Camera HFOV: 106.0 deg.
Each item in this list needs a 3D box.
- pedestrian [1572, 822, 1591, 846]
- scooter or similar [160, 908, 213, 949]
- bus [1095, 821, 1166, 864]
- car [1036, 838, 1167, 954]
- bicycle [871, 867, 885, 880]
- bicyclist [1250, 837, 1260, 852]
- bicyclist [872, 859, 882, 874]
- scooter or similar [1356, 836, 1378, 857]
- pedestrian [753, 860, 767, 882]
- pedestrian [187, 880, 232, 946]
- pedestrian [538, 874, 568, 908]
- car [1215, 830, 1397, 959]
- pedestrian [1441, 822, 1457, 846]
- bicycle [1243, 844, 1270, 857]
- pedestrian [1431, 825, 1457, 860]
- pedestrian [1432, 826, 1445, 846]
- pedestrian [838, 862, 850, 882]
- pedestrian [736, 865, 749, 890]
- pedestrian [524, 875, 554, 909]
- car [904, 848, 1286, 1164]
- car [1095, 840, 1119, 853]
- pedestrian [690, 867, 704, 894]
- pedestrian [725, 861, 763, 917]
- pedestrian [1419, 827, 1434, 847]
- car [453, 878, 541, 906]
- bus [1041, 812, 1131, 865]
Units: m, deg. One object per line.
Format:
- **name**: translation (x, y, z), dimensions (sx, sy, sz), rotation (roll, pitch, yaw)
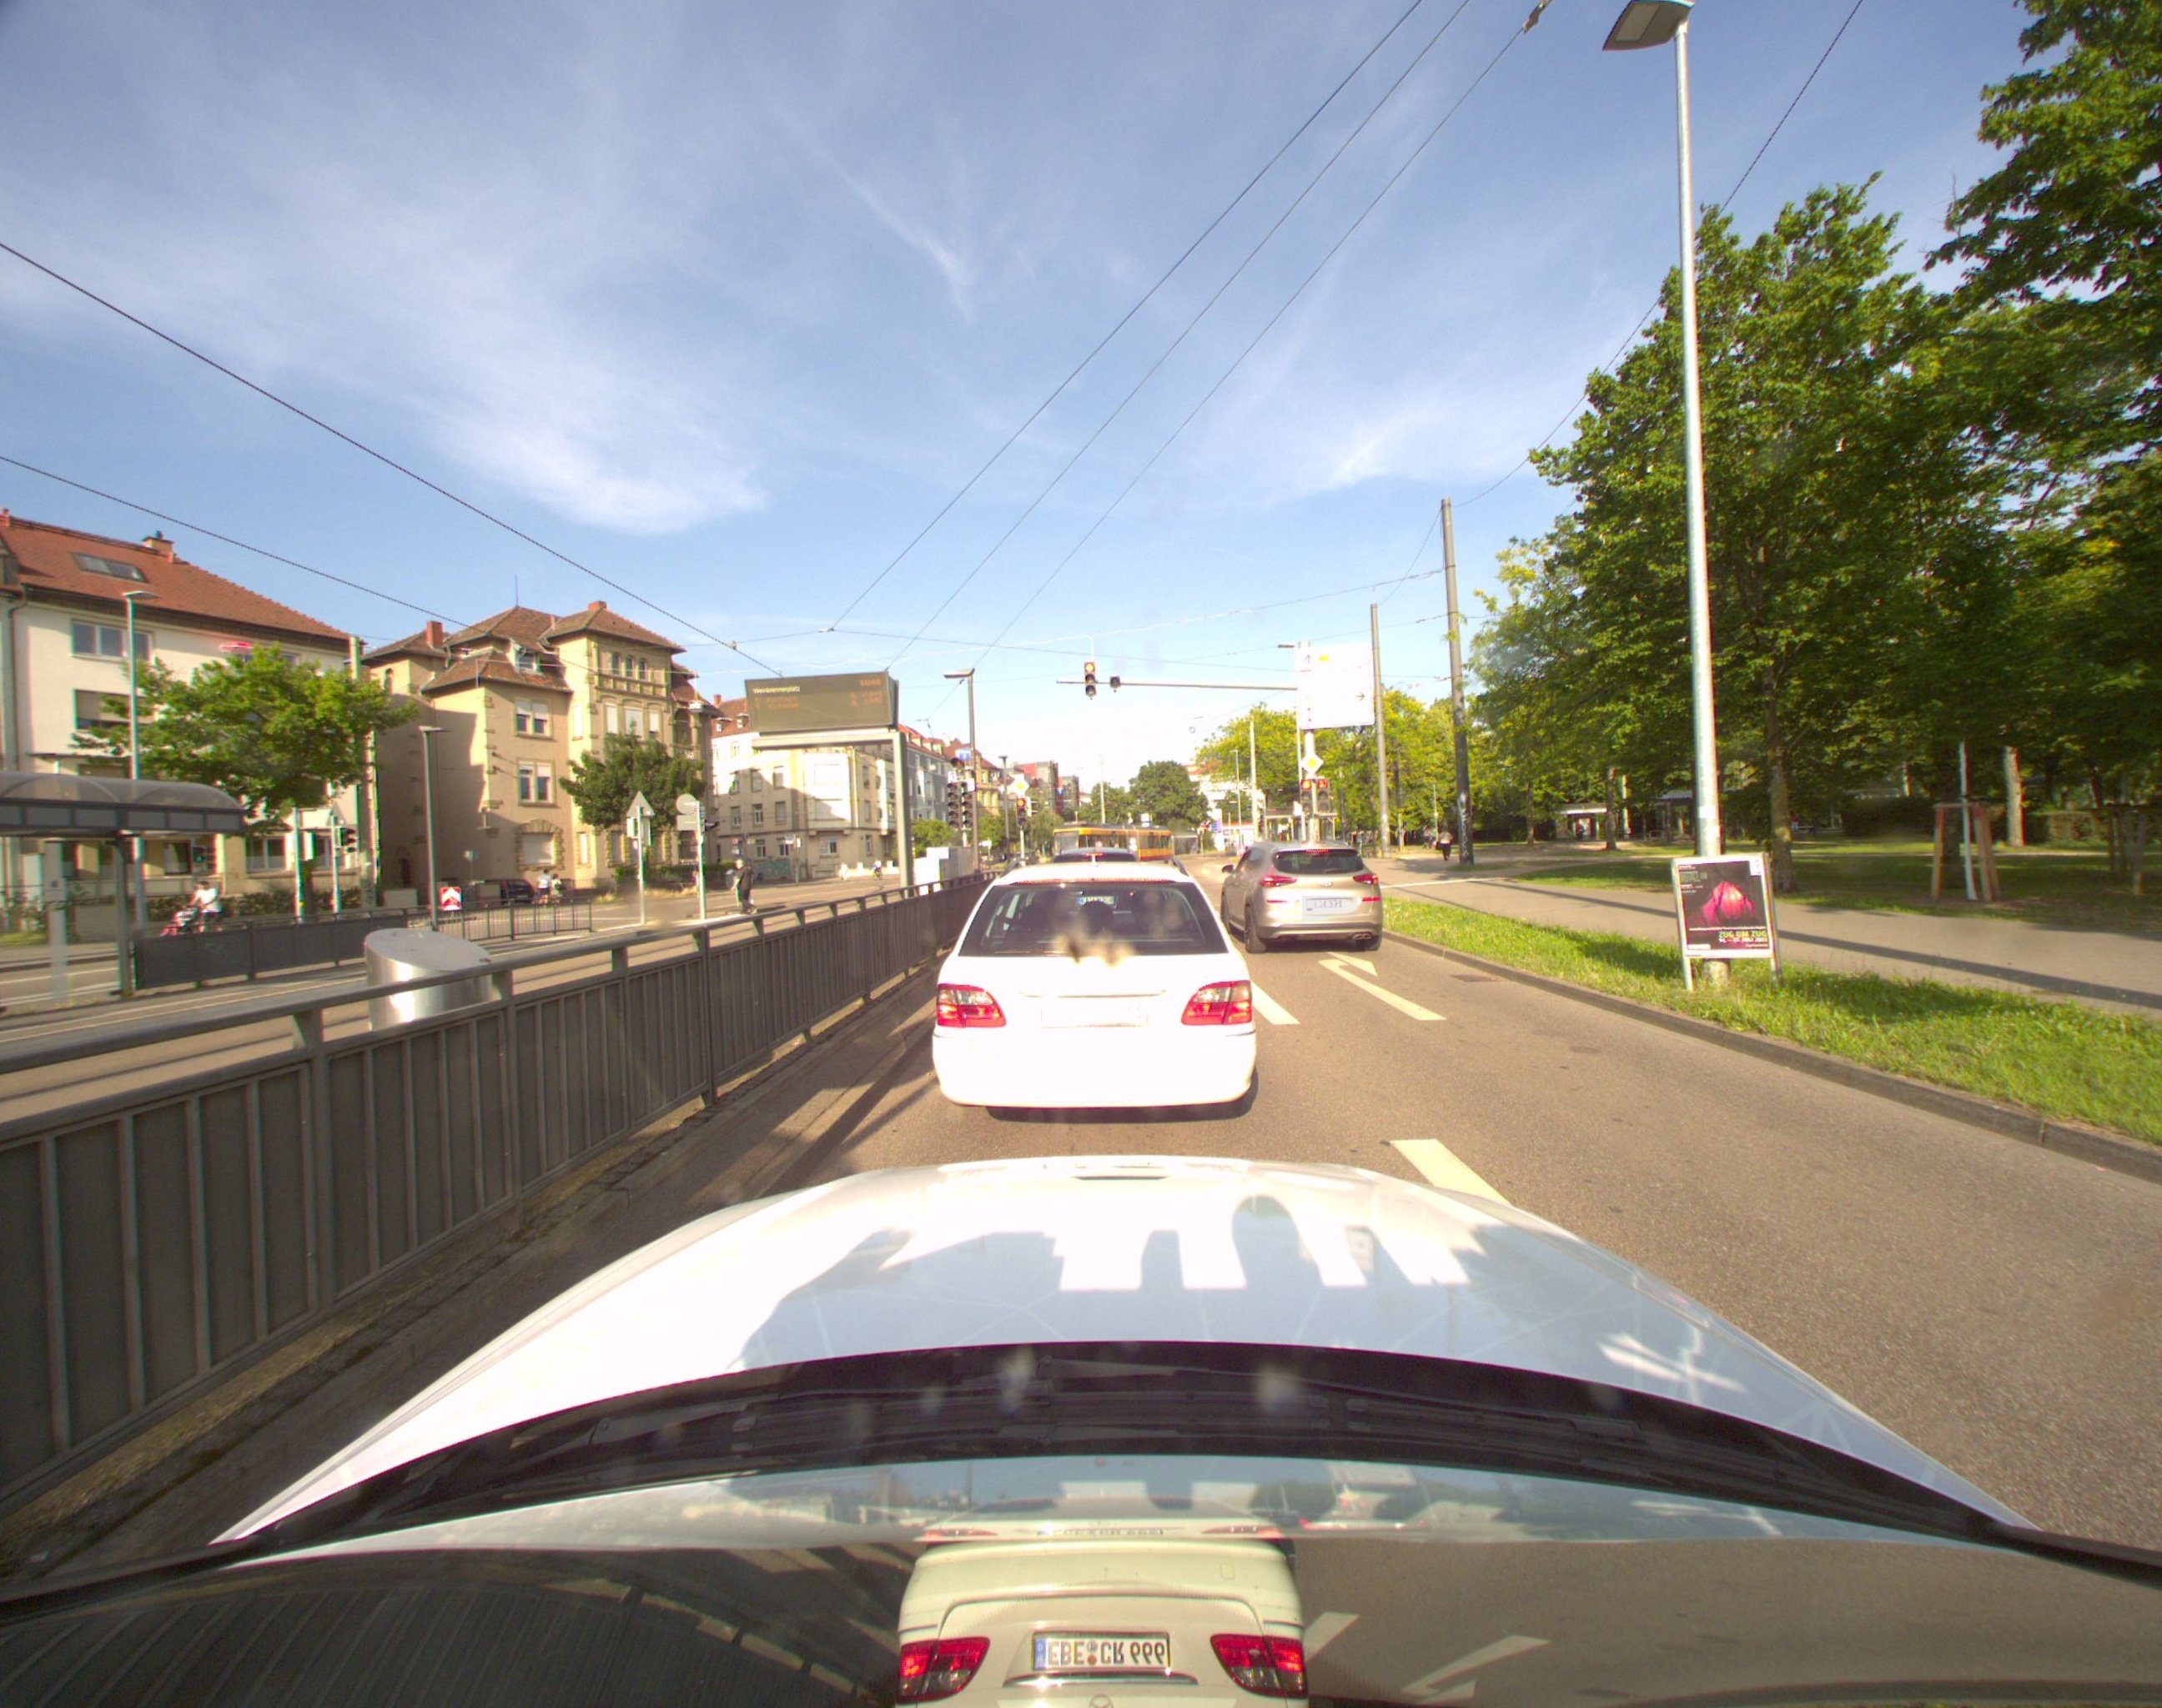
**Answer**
- **pedestrian**: translation (35.585, -1.423, 57.864), dimensions (0.831, 1.636, 0.804), rotation (-3, 0, 8)
- **scooter or similar**: translation (-24.050, 1.991, 21.902), dimensions (0.559, 0.988, 1.015), rotation (-3, 0, -24)
- **bus**: translation (4.777, -0.950, 74.279), dimensions (3.083, 3.606, 12.652), rotation (-1, 0, 19)
- **car**: translation (0.359, 0.598, 13.570), dimensions (1.878, 1.651, 3.649), rotation (-1, 0, 2)
- **bicycle**: translation (-15.044, 1.433, 60.250), dimensions (0.524, 0.834, 1.687), rotation (-3, 0, 2)
- **bicyclist**: translation (17.430, -0.975, 81.409), dimensions (0.855, 1.481, 0.791), rotation (-3, 0, 10)
- **bicyclist**: translation (-15.076, 0.945, 60.112), dimensions (0.511, 1.044, 0.680), rotation (-3, 0, 1)
- **scooter or similar**: translation (16.115, -0.416, 45.900), dimensions (0.421, 1.117, 1.322), rotation (-3, 0, -18)
- **pedestrian**: translation (-29.600, 1.555, 75.170), dimensions (0.768, 2.013, 0.790), rotation (-3, 0, 17)
- **pedestrian**: translation (-24.344, 1.631, 22.768), dimensions (0.550, 1.746, 0.757), rotation (-3, 0, -24)
- **pedestrian**: translation (-24.917, 1.746, 38.424), dimensions (0.822, 1.552, 0.786), rotation (-3, 0, 23)
- **car**: translation (3.326, 0.538, 12.790), dimensions (1.878, 1.651, 3.649), rotation (-3, 0, 2)
- **pedestrian**: translation (29.018, -1.575, 64.199), dimensions (0.797, 1.785, 0.838), rotation (-3, 0, -3)
- **bicycle**: translation (17.534, -0.359, 81.410), dimensions (2.467, 1.213, 0.809), rotation (-3, 0, 9)
- **pedestrian**: translation (17.267, -0.550, 38.718), dimensions (0.758, 1.636, 0.800), rotation (-3, 0, -38)
- **pedestrian**: translation (27.669, -1.398, 63.071), dimensions (0.805, 1.487, 0.705), rotation (-3, 0, 26)
- **pedestrian**: translation (-18.528, 1.379, 63.590), dimensions (0.626, 1.541, 0.711), rotation (-3, 0, 1)
- **pedestrian**: translation (-21.063, 1.478, 50.648), dimensions (0.530, 1.500, 0.391), rotation (-3, 0, 16)
- **pedestrian**: translation (-25.753, 1.793, 38.689), dimensions (0.822, 1.552, 0.786), rotation (-3, 0, 23)
- **car**: translation (0.119, 0.719, 5.709), dimensions (1.789, 1.470, 3.649), rotation (-1, 0, 2)
- **car**: translation (4.375, -1.256, 135.637), dimensions (3.973, 2.014, 2.000), rotation (-1, -1, 0)
- **pedestrian**: translation (-22.142, 1.528, 46.966), dimensions (0.434, 1.500, 0.551), rotation (-3, 0, 16)
- **pedestrian**: translation (-10.330, 1.055, 24.977), dimensions (0.798, 1.645, 0.748), rotation (-3, 0, -42)
- **pedestrian**: translation (27.155, -1.337, 63.987), dimensions (0.820, 1.487, 0.692), rotation (-3, 0, -40)
- **car**: translation (-29.511, 1.898, 41.157), dimensions (4.066, 1.310, 1.774), rotation (-1, -1, 23)
- **bus**: translation (0.678, -1.034, 62.343), dimensions (3.083, 3.606, 12.433), rotation (-1, 0, 19)
